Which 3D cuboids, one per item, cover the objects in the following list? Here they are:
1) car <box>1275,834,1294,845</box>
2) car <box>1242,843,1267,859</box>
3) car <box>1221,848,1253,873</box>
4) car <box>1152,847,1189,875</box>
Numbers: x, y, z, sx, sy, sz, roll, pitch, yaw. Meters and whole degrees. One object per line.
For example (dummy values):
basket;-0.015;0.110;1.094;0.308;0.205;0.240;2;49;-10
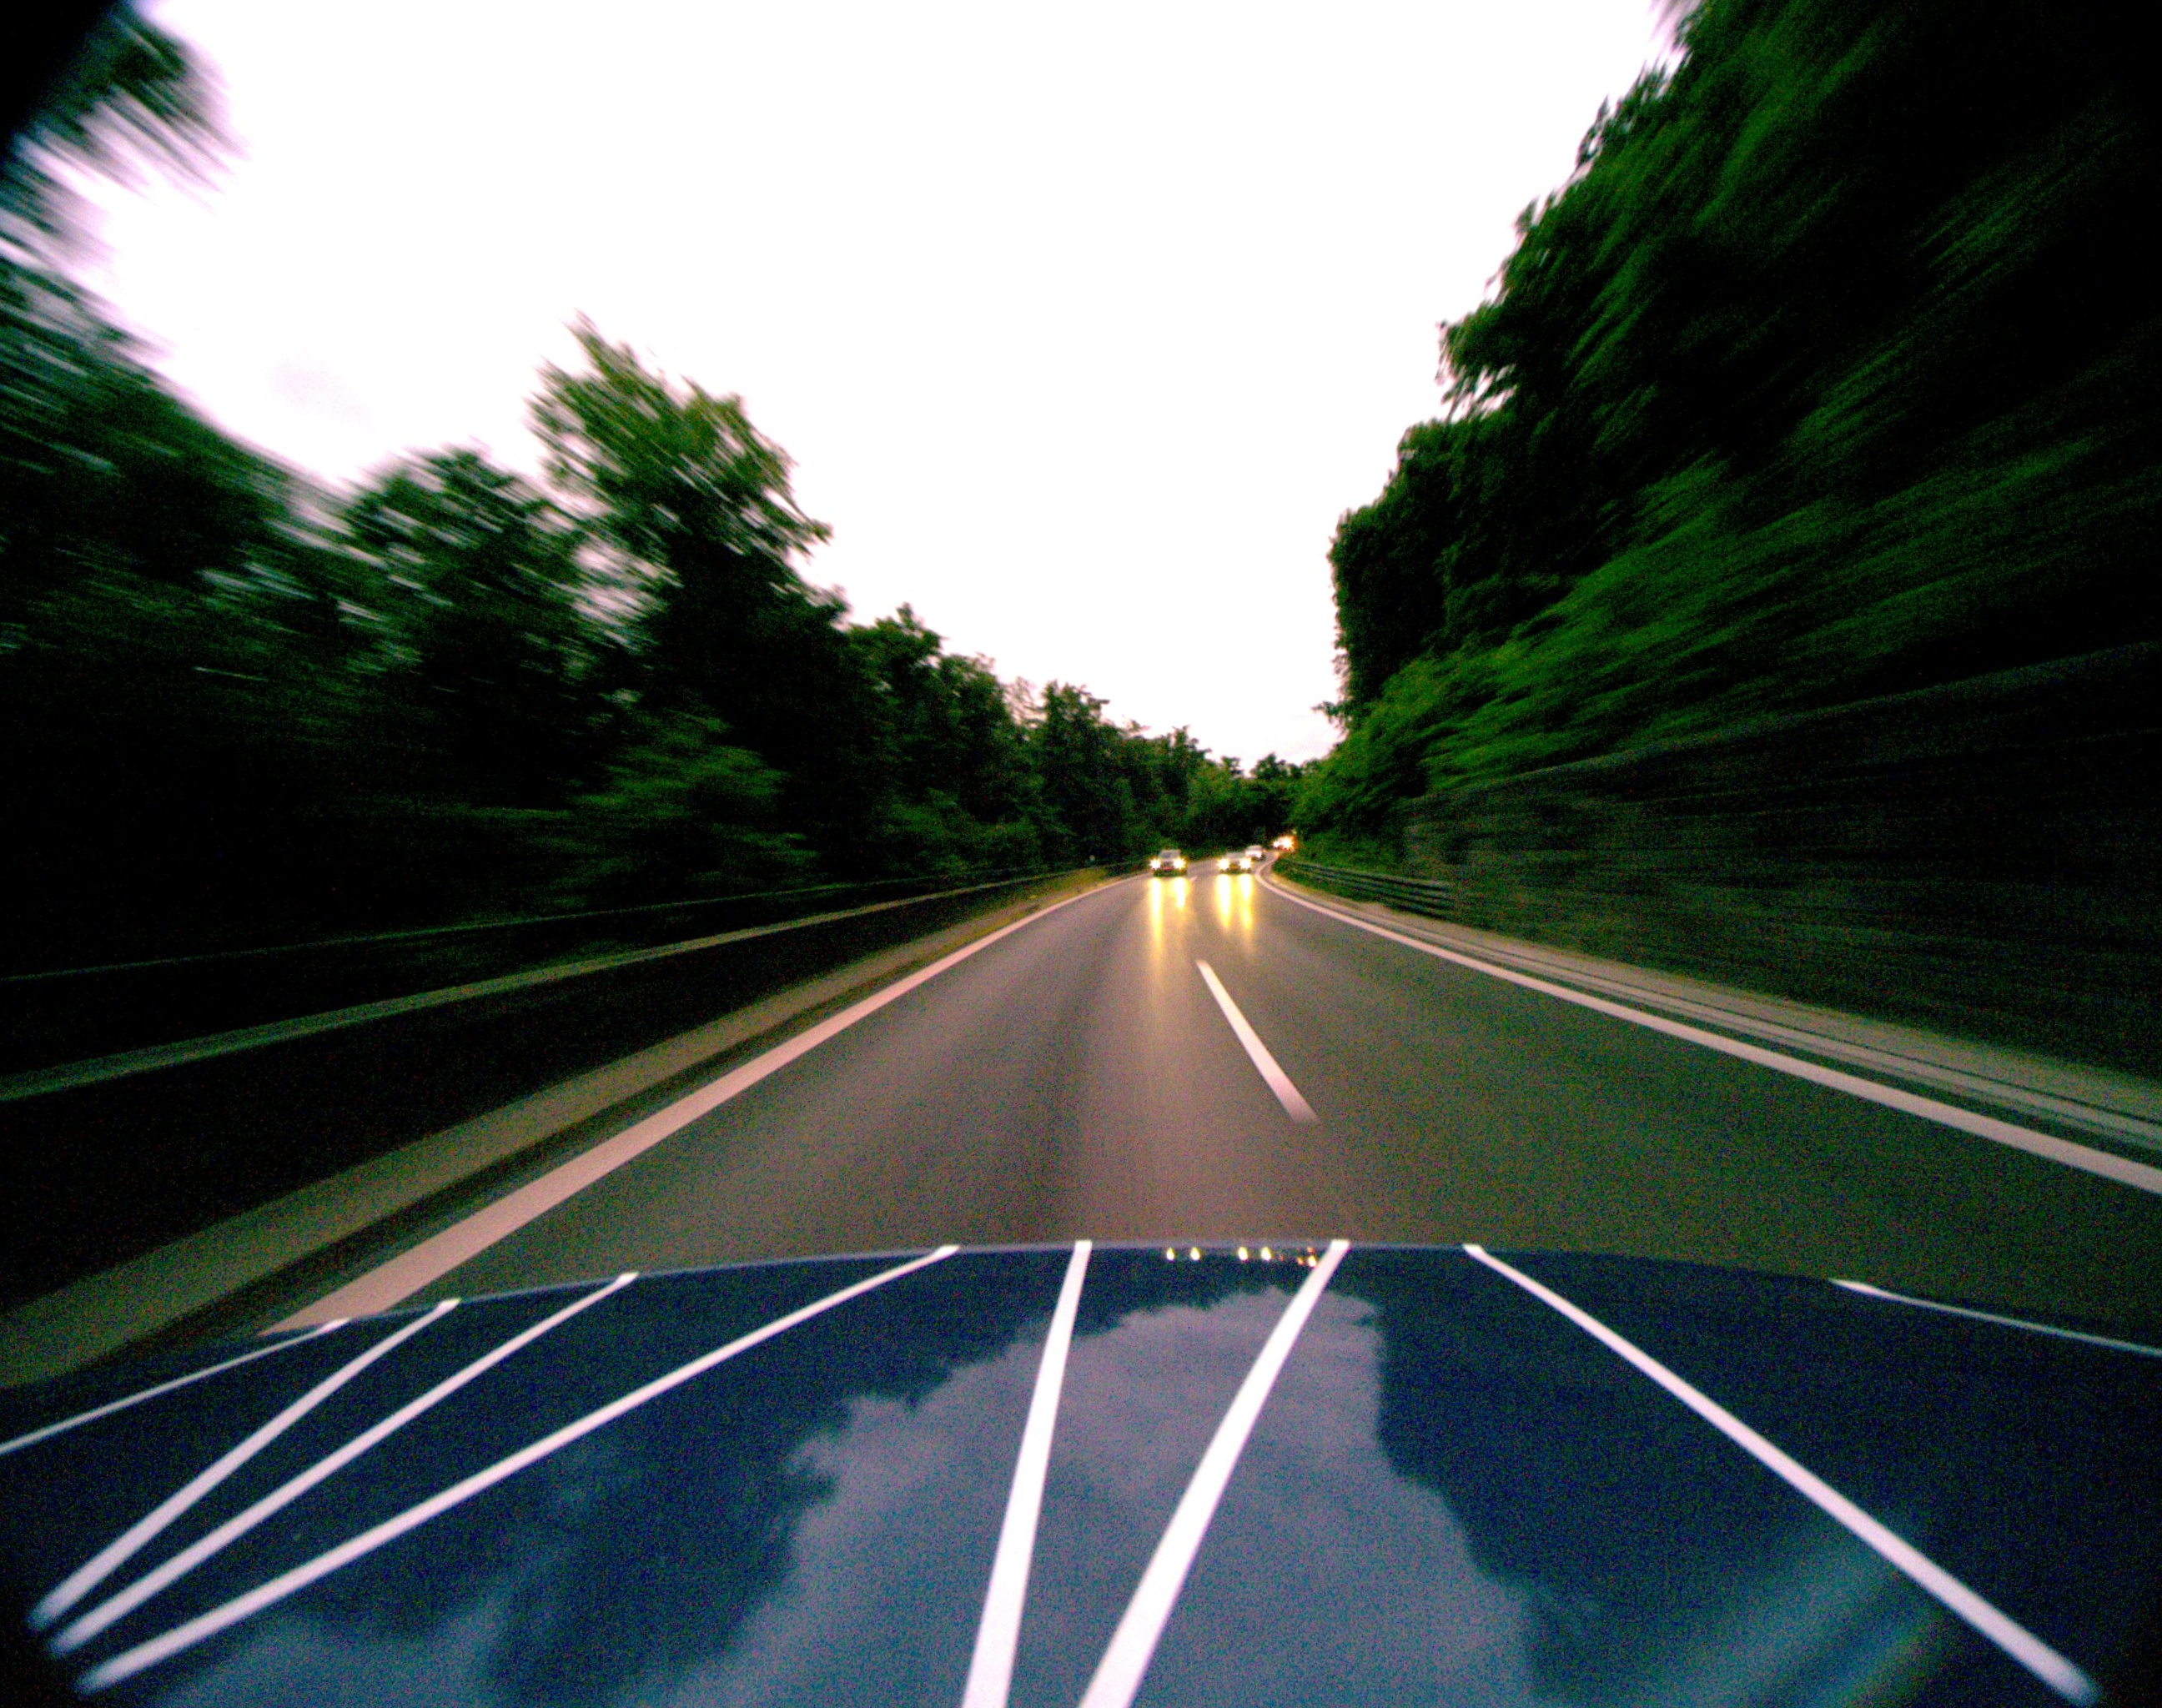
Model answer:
car;30.294;-2.162;112.954;1.995;1.608;4.006;-3;0;24
car;17.475;-0.333;76.526;1.996;1.499;4.005;-3;0;19
car;10.351;0.389;50.294;1.996;1.499;4.003;0;1;12
car;5.792;0.439;48.929;1.997;1.630;4.003;-3;0;11
